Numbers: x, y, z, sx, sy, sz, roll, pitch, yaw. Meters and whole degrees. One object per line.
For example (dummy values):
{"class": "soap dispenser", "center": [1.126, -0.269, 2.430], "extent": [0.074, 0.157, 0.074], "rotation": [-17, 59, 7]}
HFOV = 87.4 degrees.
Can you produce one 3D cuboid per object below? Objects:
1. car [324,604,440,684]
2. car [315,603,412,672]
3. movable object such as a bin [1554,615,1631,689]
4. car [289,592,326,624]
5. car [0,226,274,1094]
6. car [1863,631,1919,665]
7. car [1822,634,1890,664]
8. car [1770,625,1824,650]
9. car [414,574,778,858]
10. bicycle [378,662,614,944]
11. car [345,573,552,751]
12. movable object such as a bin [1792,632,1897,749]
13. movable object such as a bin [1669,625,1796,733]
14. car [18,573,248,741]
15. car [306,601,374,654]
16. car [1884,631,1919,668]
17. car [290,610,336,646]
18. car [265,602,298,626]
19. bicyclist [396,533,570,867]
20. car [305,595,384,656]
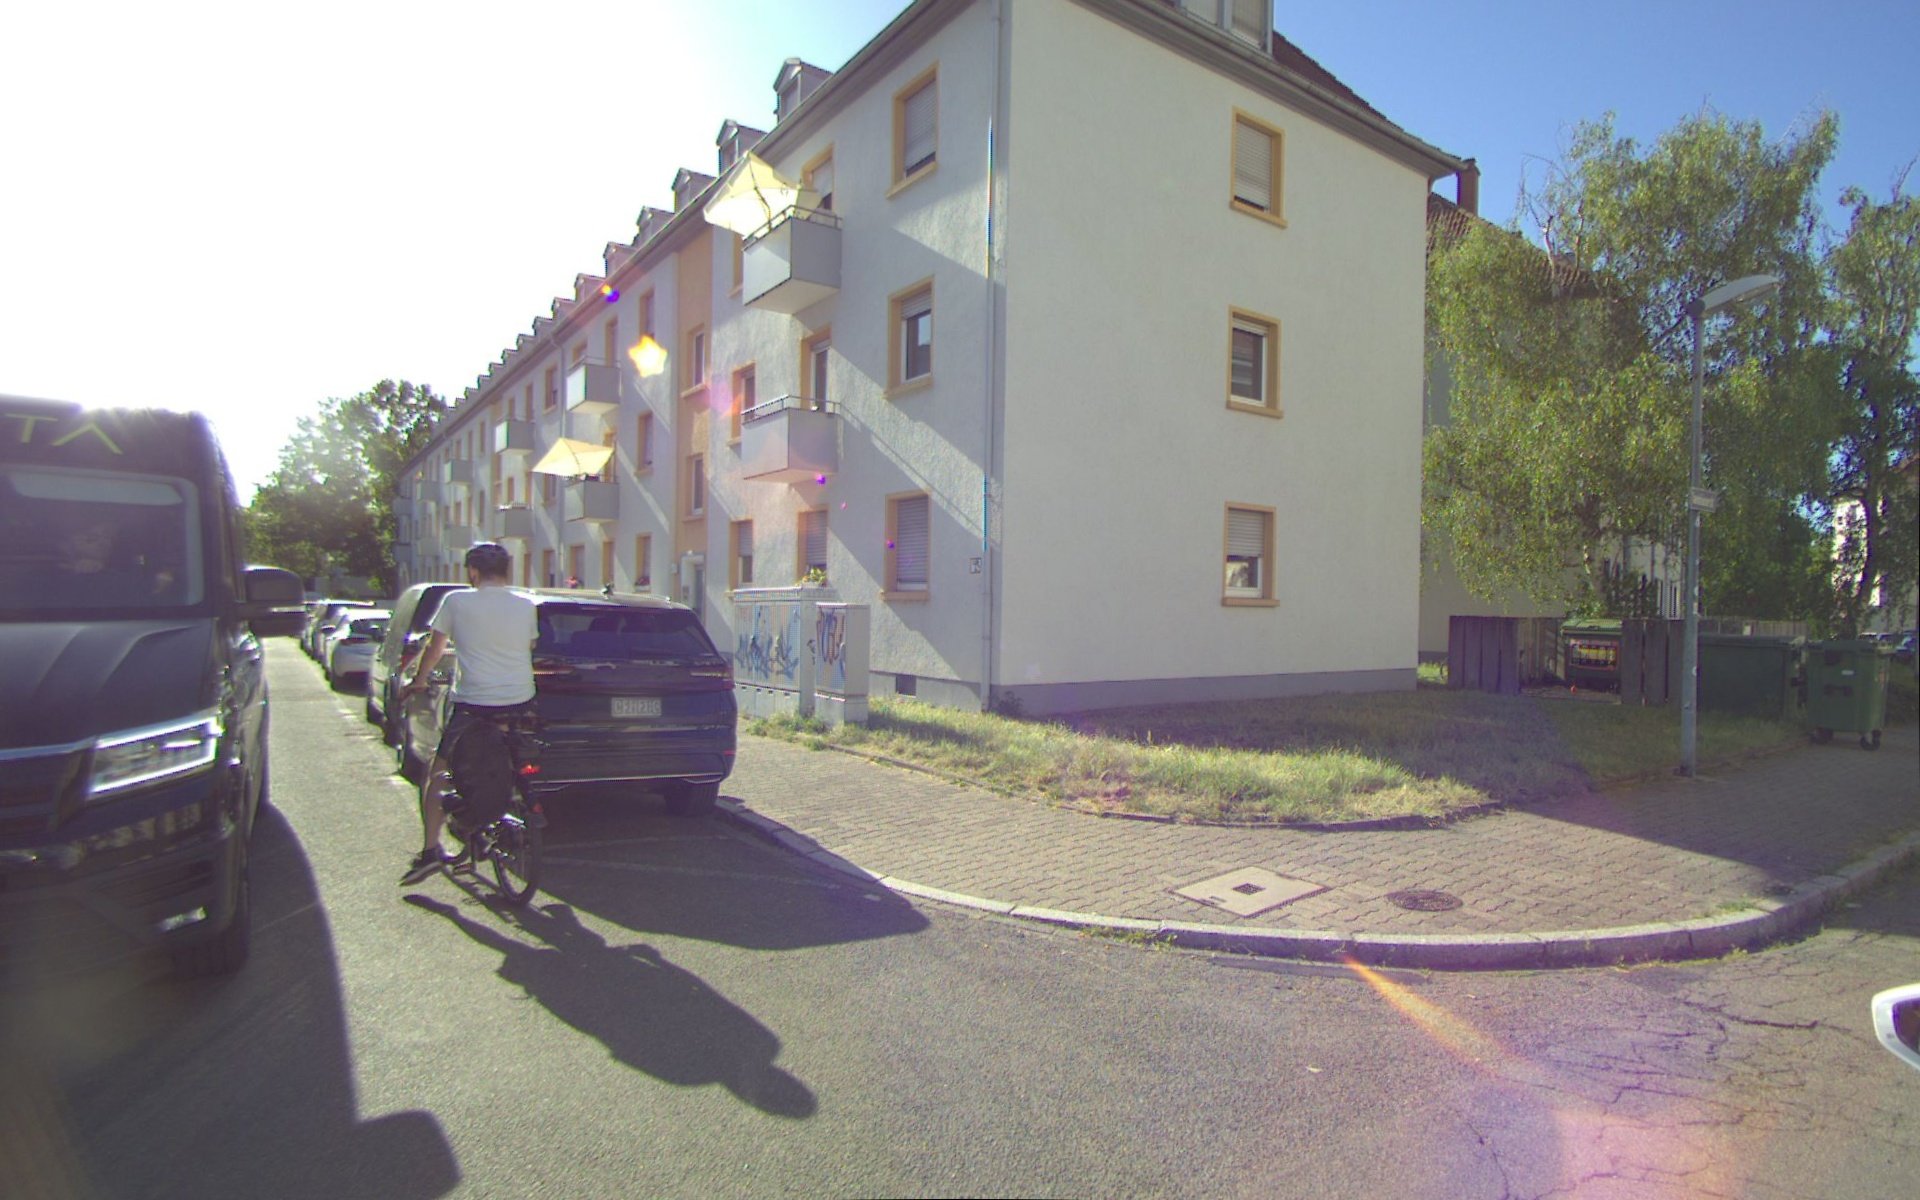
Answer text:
{"class": "car", "center": [-11.391, 0.865, 19.700], "extent": [1.766, 1.401, 3.536], "rotation": [3, -3, -33]}
{"class": "car", "center": [-14.602, 0.899, 24.530], "extent": [1.767, 1.545, 3.533], "rotation": [1, -2, -35]}
{"class": "movable object such as a bin", "center": [12.931, 1.039, 20.540], "extent": [0.994, 1.454, 1.053], "rotation": [1, -2, -38]}
{"class": "car", "center": [-40.260, 0.533, 62.032], "extent": [1.765, 1.933, 3.537], "rotation": [1, -2, -32]}
{"class": "car", "center": [-4.791, 0.189, 5.224], "extent": [1.980, 2.579, 5.903], "rotation": [1, -1, -34]}
{"class": "car", "center": [44.281, 2.245, 47.676], "extent": [1.458, 1.496, 3.622], "rotation": [-4, -3, 33]}
{"class": "car", "center": [46.799, 2.554, 52.539], "extent": [1.718, 1.450, 4.589], "rotation": [-2, -2, 30]}
{"class": "car", "center": [51.700, 2.306, 62.117], "extent": [1.632, 1.462, 3.868], "rotation": [-1, -2, 25]}
{"class": "car", "center": [-3.244, 0.744, 8.288], "extent": [1.702, 1.685, 4.459], "rotation": [3, -2, -35]}
{"class": "bicycle", "center": [-2.475, 0.935, 5.237], "extent": [0.624, 1.130, 1.795], "rotation": [4, -2, -40]}
{"class": "car", "center": [-6.408, 0.684, 12.353], "extent": [1.702, 1.812, 3.965], "rotation": [3, -2, -35]}
{"class": "movable object such as a bin", "center": [11.506, 1.138, 13.057], "extent": [1.404, 1.411, 0.770], "rotation": [1, 0, -38]}
{"class": "movable object such as a bin", "center": [10.918, 1.082, 14.228], "extent": [0.759, 1.399, 1.213], "rotation": [1, 0, -32]}
{"class": "car", "center": [-10.006, 0.648, 12.462], "extent": [1.847, 1.717, 3.962], "rotation": [1, -2, -35]}
{"class": "car", "center": [-21.083, 0.944, 34.097], "extent": [1.767, 1.679, 3.533], "rotation": [1, -2, -35]}
{"class": "car", "center": [41.370, 2.100, 43.245], "extent": [1.547, 1.484, 4.252], "rotation": [-1, -1, 32]}
{"class": "car", "center": [-31.464, 1.384, 48.917], "extent": [1.765, 1.679, 3.537], "rotation": [1, -2, -32]}
{"class": "car", "center": [-58.516, 1.215, 86.714], "extent": [1.976, 2.040, 3.970], "rotation": [1, -2, -29]}
{"class": "bicyclist", "center": [-2.550, 0.489, 5.348], "extent": [0.593, 1.599, 0.896], "rotation": [2, -1, -41]}
{"class": "car", "center": [-18.247, 0.759, 29.723], "extent": [1.767, 1.679, 3.533], "rotation": [1, -2, -35]}
